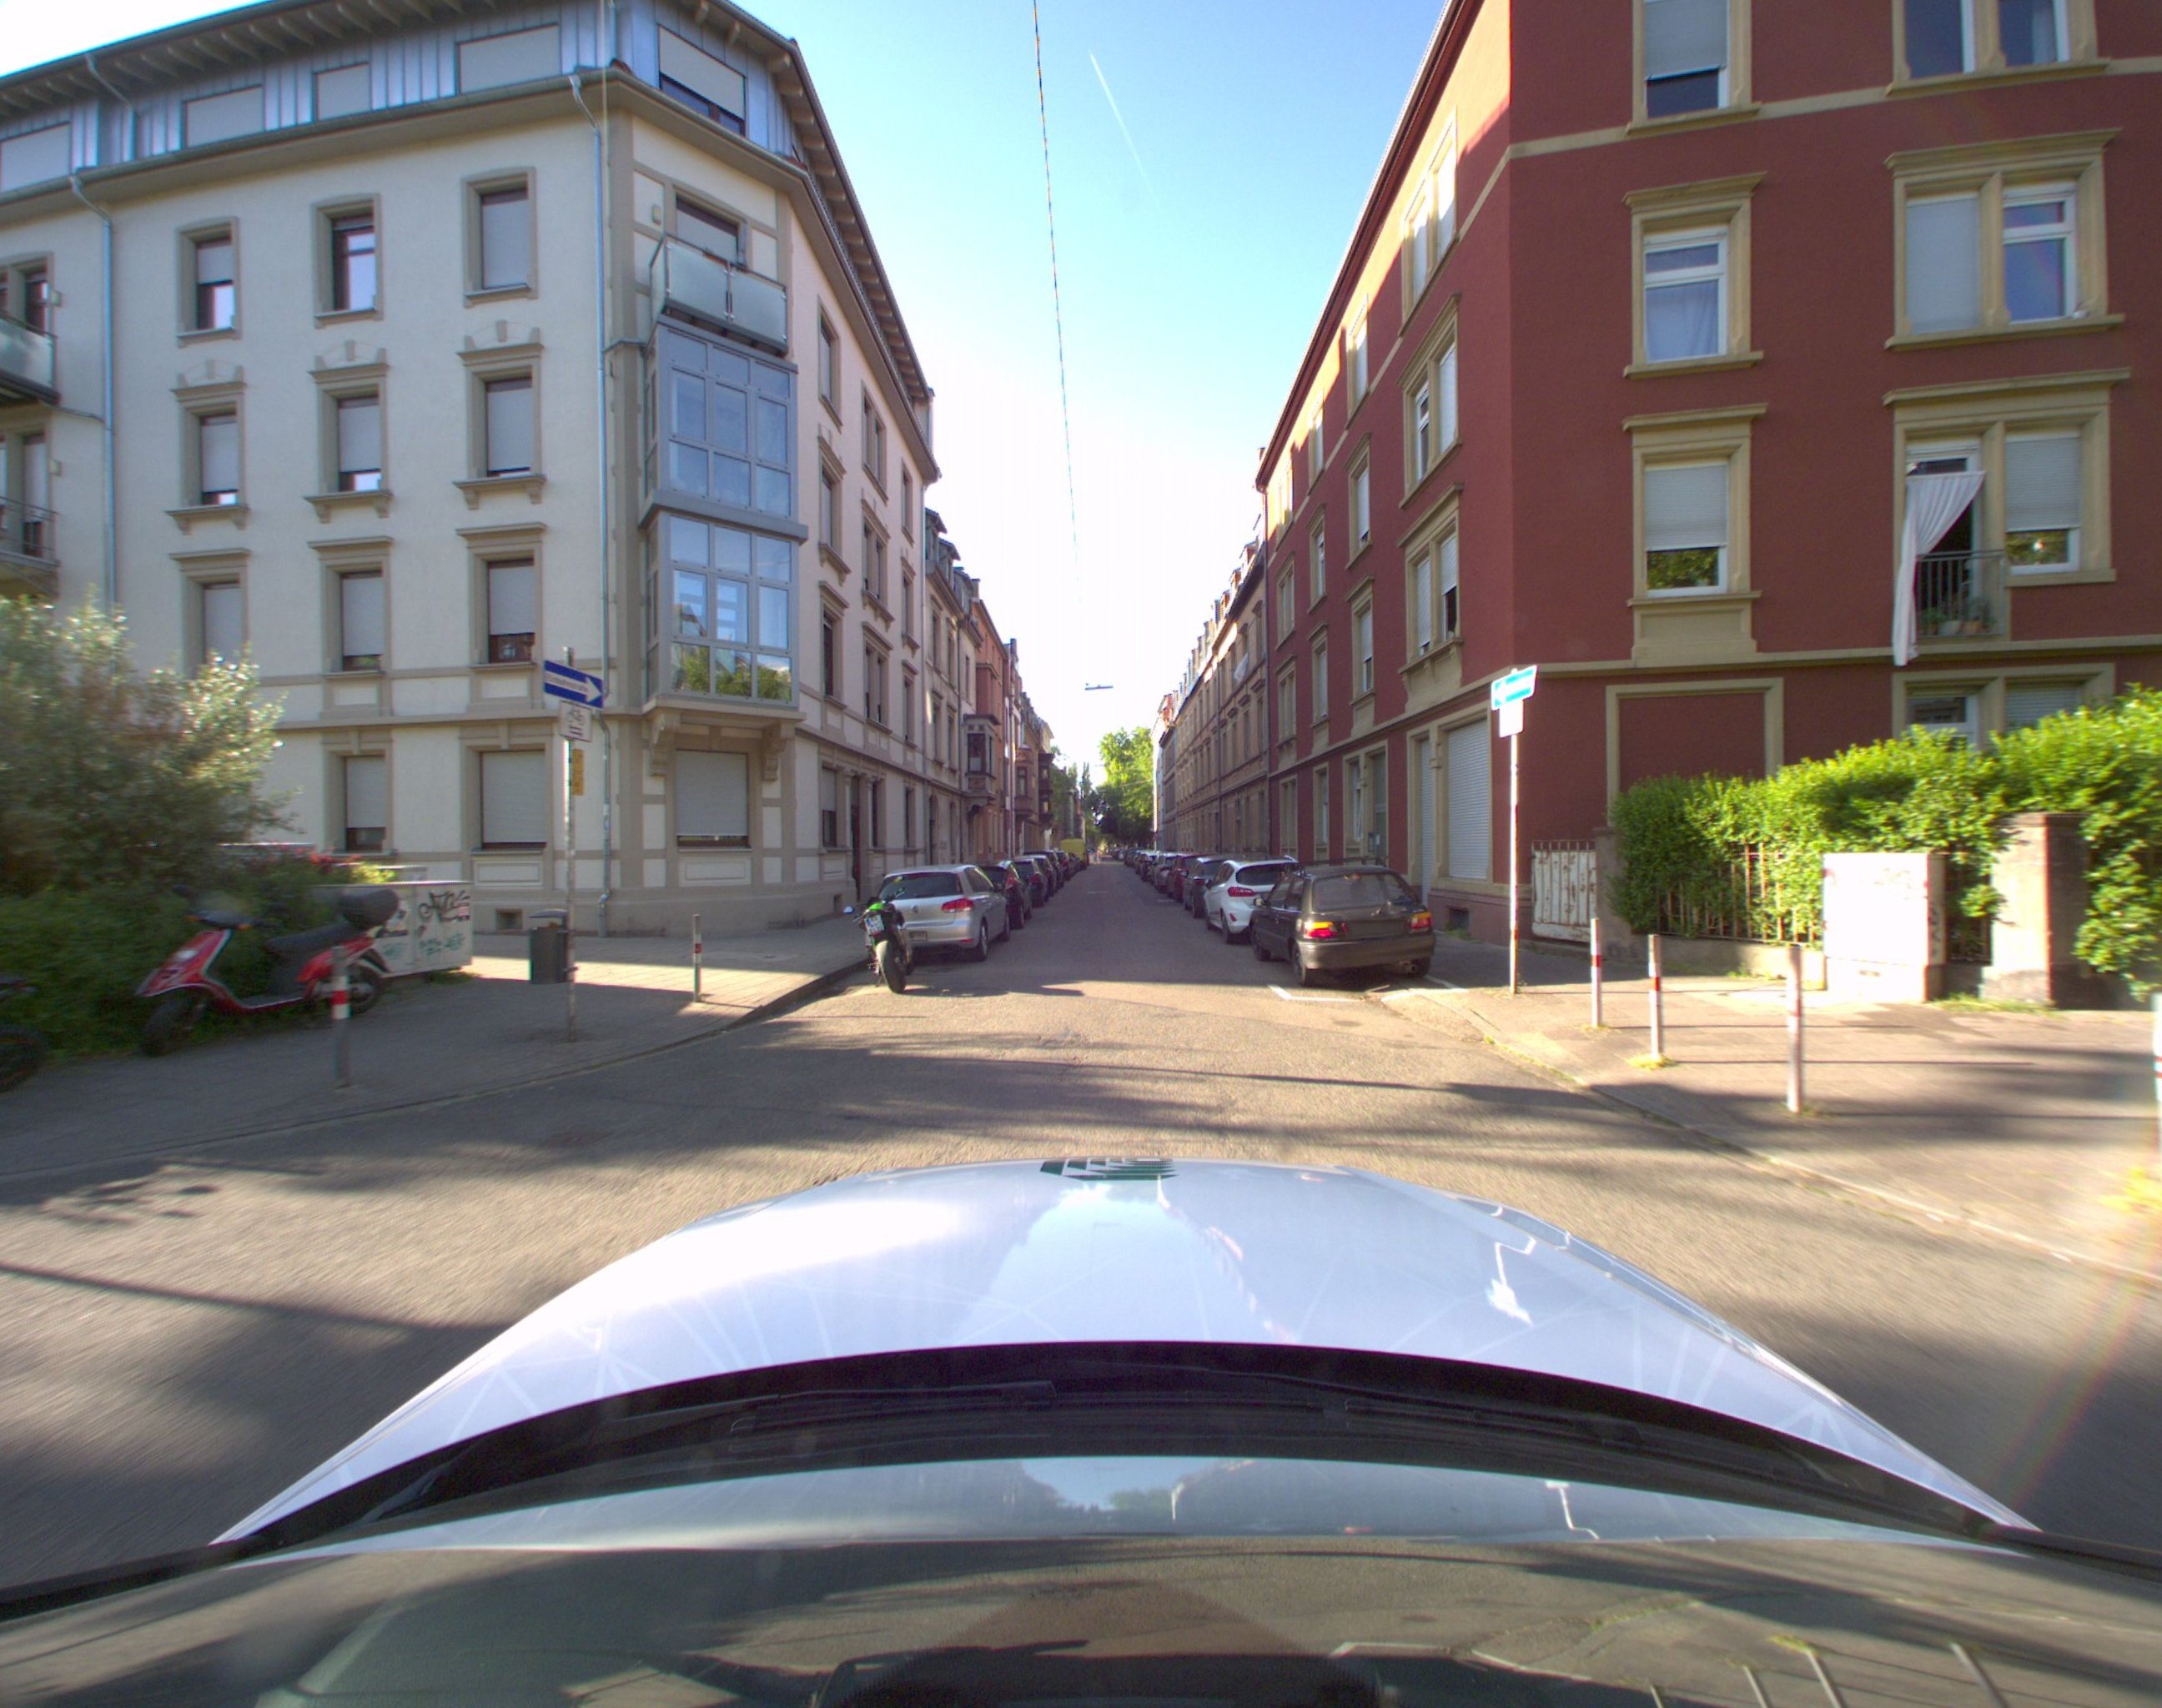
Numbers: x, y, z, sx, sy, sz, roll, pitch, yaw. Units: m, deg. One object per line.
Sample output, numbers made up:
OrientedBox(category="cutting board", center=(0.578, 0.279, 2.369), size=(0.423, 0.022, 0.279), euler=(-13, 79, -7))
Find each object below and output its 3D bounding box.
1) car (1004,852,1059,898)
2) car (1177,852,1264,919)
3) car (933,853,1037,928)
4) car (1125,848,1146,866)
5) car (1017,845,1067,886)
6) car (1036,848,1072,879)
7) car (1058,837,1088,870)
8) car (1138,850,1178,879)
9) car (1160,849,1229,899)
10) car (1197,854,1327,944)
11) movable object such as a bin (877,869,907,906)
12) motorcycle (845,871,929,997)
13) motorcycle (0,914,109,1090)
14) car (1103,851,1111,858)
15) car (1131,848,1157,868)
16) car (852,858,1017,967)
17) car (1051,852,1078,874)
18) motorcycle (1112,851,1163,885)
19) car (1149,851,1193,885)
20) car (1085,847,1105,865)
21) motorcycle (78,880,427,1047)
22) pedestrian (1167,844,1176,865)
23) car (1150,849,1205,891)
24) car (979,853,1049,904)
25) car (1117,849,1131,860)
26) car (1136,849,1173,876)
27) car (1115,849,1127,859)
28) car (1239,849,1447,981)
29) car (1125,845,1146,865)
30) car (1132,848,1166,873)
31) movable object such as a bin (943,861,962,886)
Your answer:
OrientedBox(category="car", center=(-1.728, 0.704, 29.585), size=(1.637, 1.455, 3.839), euler=(-3, 0, 1))
OrientedBox(category="car", center=(3.431, 0.720, 20.704), size=(1.670, 1.503, 4.071), euler=(0, 1, 2))
OrientedBox(category="car", center=(-2.046, 0.742, 18.380), size=(1.774, 1.483, 3.745), euler=(0, 0, 2))
OrientedBox(category="car", center=(4.962, 0.285, 74.505), size=(1.746, 1.452, 4.291), euler=(-4, 1, 3))
OrientedBox(category="car", center=(-1.605, 0.453, 34.771), size=(1.754, 1.617, 4.191), euler=(0, 0, 2))
OrientedBox(category="car", center=(-1.438, 0.482, 44.337), size=(1.775, 1.606, 4.069), euler=(0, 0, 0))
OrientedBox(category="car", center=(-0.566, -0.088, 66.596), size=(2.167, 2.507, 5.880), euler=(-2, 0, 1))
OrientedBox(category="car", center=(3.907, 0.503, 41.844), size=(1.770, 1.396, 4.320), euler=(0, 1, 2))
OrientedBox(category="car", center=(3.614, 0.581, 26.454), size=(1.654, 1.479, 4.023), euler=(0, 1, -1))
OrientedBox(category="car", center=(3.279, 0.750, 15.502), size=(1.699, 1.462, 3.971), euler=(0, 0, 1))
OrientedBox(category="movable object such as a bin", center=(-4.995, 0.876, 21.531), size=(0.619, 0.955, 0.511), euler=(1, 0, 1))
OrientedBox(category="motorcycle", center=(-2.377, 0.925, 10.207), size=(0.675, 1.334, 1.997), euler=(-3, 1, -5))
OrientedBox(category="motorcycle", center=(-7.385, 0.970, 4.887), size=(0.634, 1.090, 1.878), euler=(0, -1, 17))
OrientedBox(category="car", center=(7.123, 0.189, 223.412), size=(1.986, 1.728, 4.001), euler=(-1, 0, 1))
OrientedBox(category="car", center=(5.258, 0.286, 68.609), size=(1.748, 1.518, 4.444), euler=(-4, 1, 1))
OrientedBox(category="car", center=(-2.231, 0.826, 13.463), size=(1.773, 1.483, 3.936), euler=(0, 0, 4))
OrientedBox(category="car", center=(-1.095, 0.593, 55.203), size=(1.612, 1.326, 3.613), euler=(-3, 0, 1))
OrientedBox(category="motorcycle", center=(2.673, 0.646, 38.639), size=(2.229, 1.536, 0.883), euler=(2, 0, -25))
OrientedBox(category="car", center=(3.955, 0.571, 36.451), size=(1.685, 1.406, 3.994), euler=(0, 1, 2))
OrientedBox(category="car", center=(1.395, 0.201, 81.323), size=(1.813, 1.766, 4.333), euler=(0, 0, -1))
OrientedBox(category="motorcycle", center=(-7.072, 0.850, 7.136), size=(0.606, 1.196, 2.054), euler=(0, -1, 21))
OrientedBox(category="pedestrian", center=(7.078, 0.033, 63.902), size=(0.650, 1.630, 0.882), euler=(-2, -1, 5))
OrientedBox(category="car", center=(3.644, 0.571, 31.389), size=(1.755, 1.484, 4.404), euler=(0, 1, 2))
OrientedBox(category="car", center=(-1.936, 0.685, 24.546), size=(1.775, 1.403, 3.742), euler=(0, 0, 0))
OrientedBox(category="car", center=(6.031, 0.023, 114.045), size=(1.719, 1.522, 3.998), euler=(-1, 0, -1))
OrientedBox(category="car", center=(4.319, 0.461, 48.258), size=(1.720, 1.417, 4.093), euler=(-4, 1, 0))
OrientedBox(category="car", center=(6.644, -0.031, 135.329), size=(1.888, 1.625, 4.000), euler=(0, 0, 1))
OrientedBox(category="car", center=(3.294, 0.671, 10.979), size=(1.662, 1.483, 3.706), euler=(0, 0, 1))
OrientedBox(category="car", center=(5.312, 0.039, 79.938), size=(1.747, 1.786, 4.725), euler=(-3, 1, 1))
OrientedBox(category="car", center=(4.388, 0.416, 53.004), size=(1.748, 1.446, 4.068), euler=(-3, 0, 0))
OrientedBox(category="movable object such as a bin", center=(-4.861, 0.741, 30.880), size=(0.610, 0.920, 0.734), euler=(0, 0, 1))
